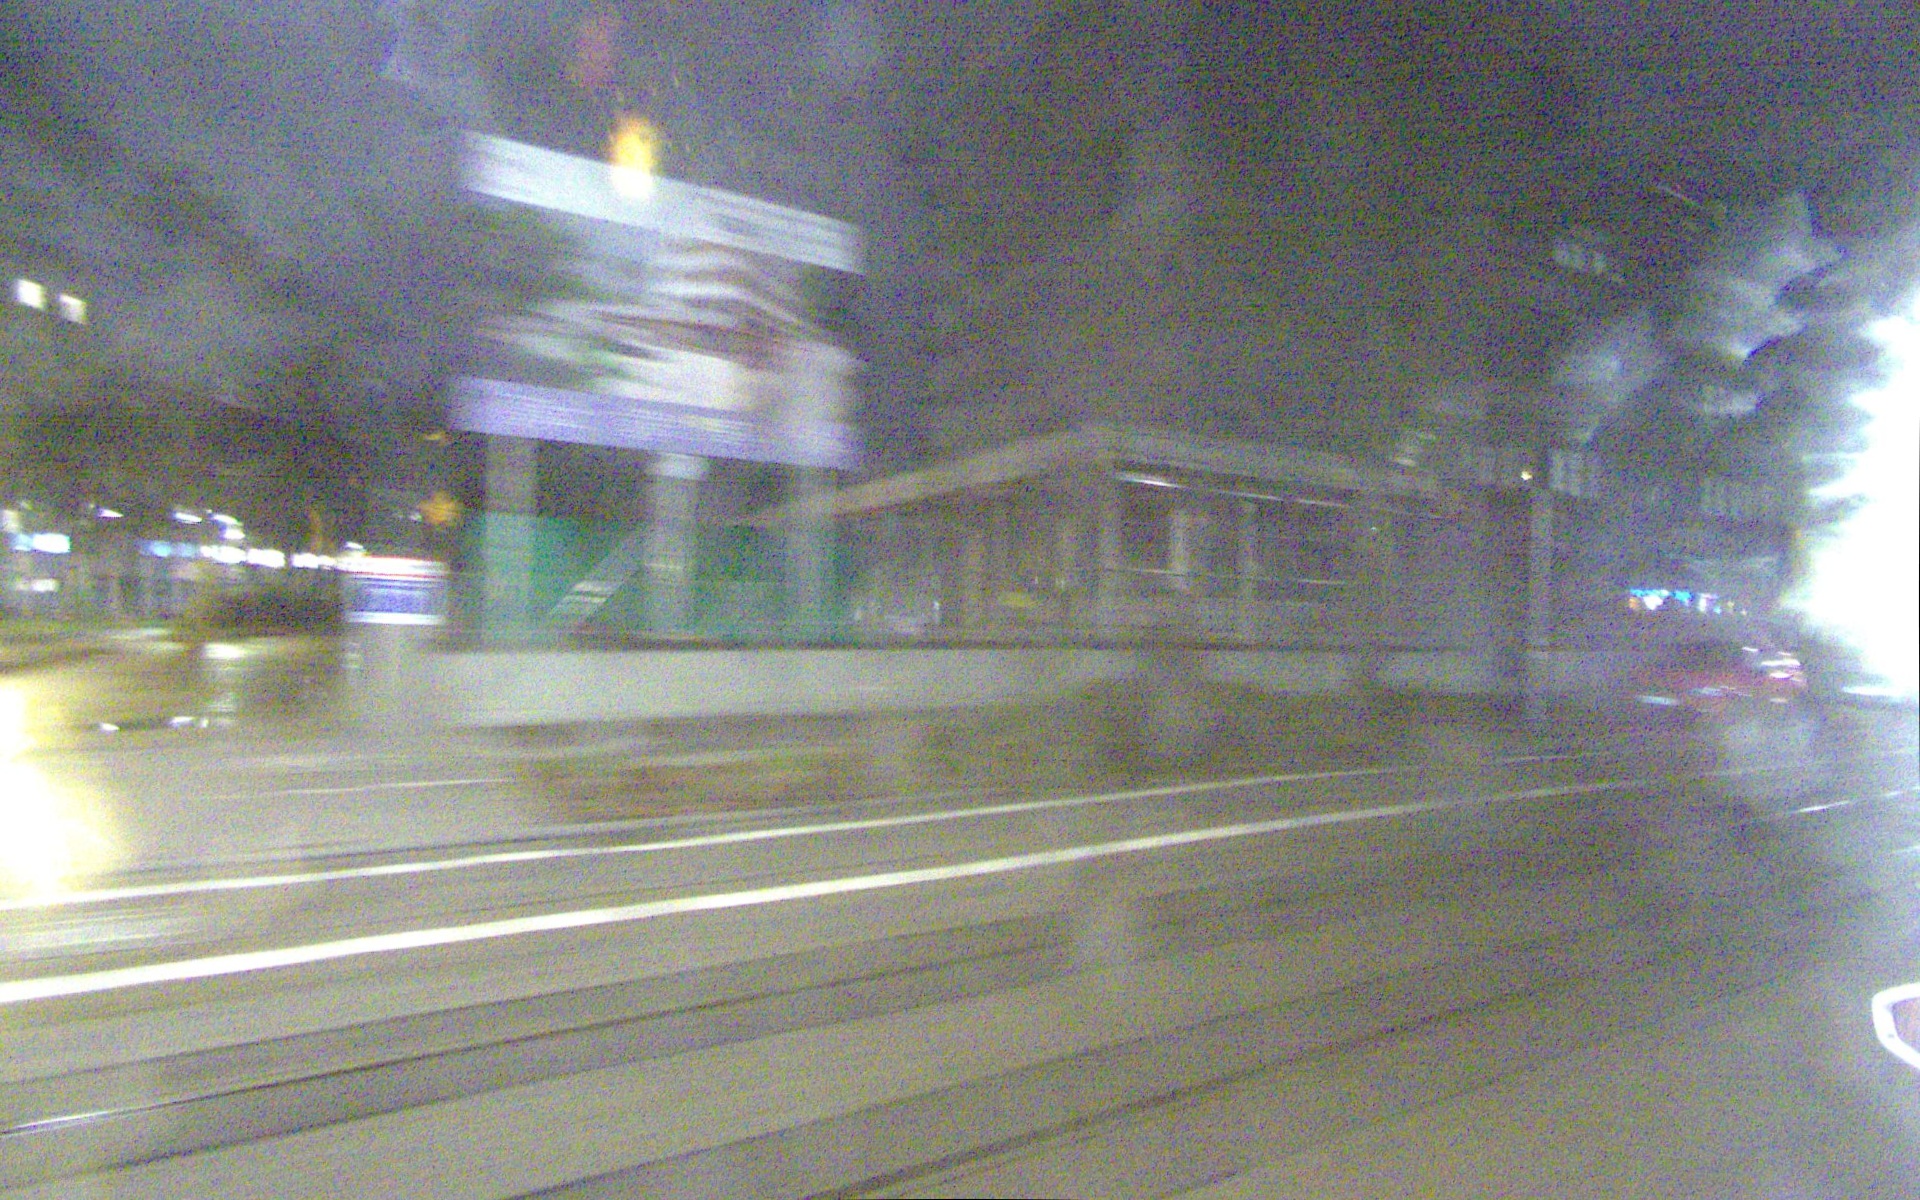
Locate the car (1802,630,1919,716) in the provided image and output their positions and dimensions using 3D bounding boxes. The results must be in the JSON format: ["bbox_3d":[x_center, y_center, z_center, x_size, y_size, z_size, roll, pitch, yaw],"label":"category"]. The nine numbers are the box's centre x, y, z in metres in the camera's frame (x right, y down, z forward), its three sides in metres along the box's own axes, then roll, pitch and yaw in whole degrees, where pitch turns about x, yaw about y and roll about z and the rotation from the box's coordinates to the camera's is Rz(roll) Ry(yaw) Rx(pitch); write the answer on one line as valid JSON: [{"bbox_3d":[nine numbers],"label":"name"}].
[{"bbox_3d":[20.809,1.564,22.304,4.301,1.600,1.801,2,2,-30],"label":"car"}]

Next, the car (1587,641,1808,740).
[{"bbox_3d":[12.874,1.522,17.502,3.905,1.475,1.710,2,-1,-31],"label":"car"}]

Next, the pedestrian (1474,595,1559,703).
[{"bbox_3d":[10.299,0.893,18.591,1.275,1.926,0.789,2,0,-30],"label":"pedestrian"}]
